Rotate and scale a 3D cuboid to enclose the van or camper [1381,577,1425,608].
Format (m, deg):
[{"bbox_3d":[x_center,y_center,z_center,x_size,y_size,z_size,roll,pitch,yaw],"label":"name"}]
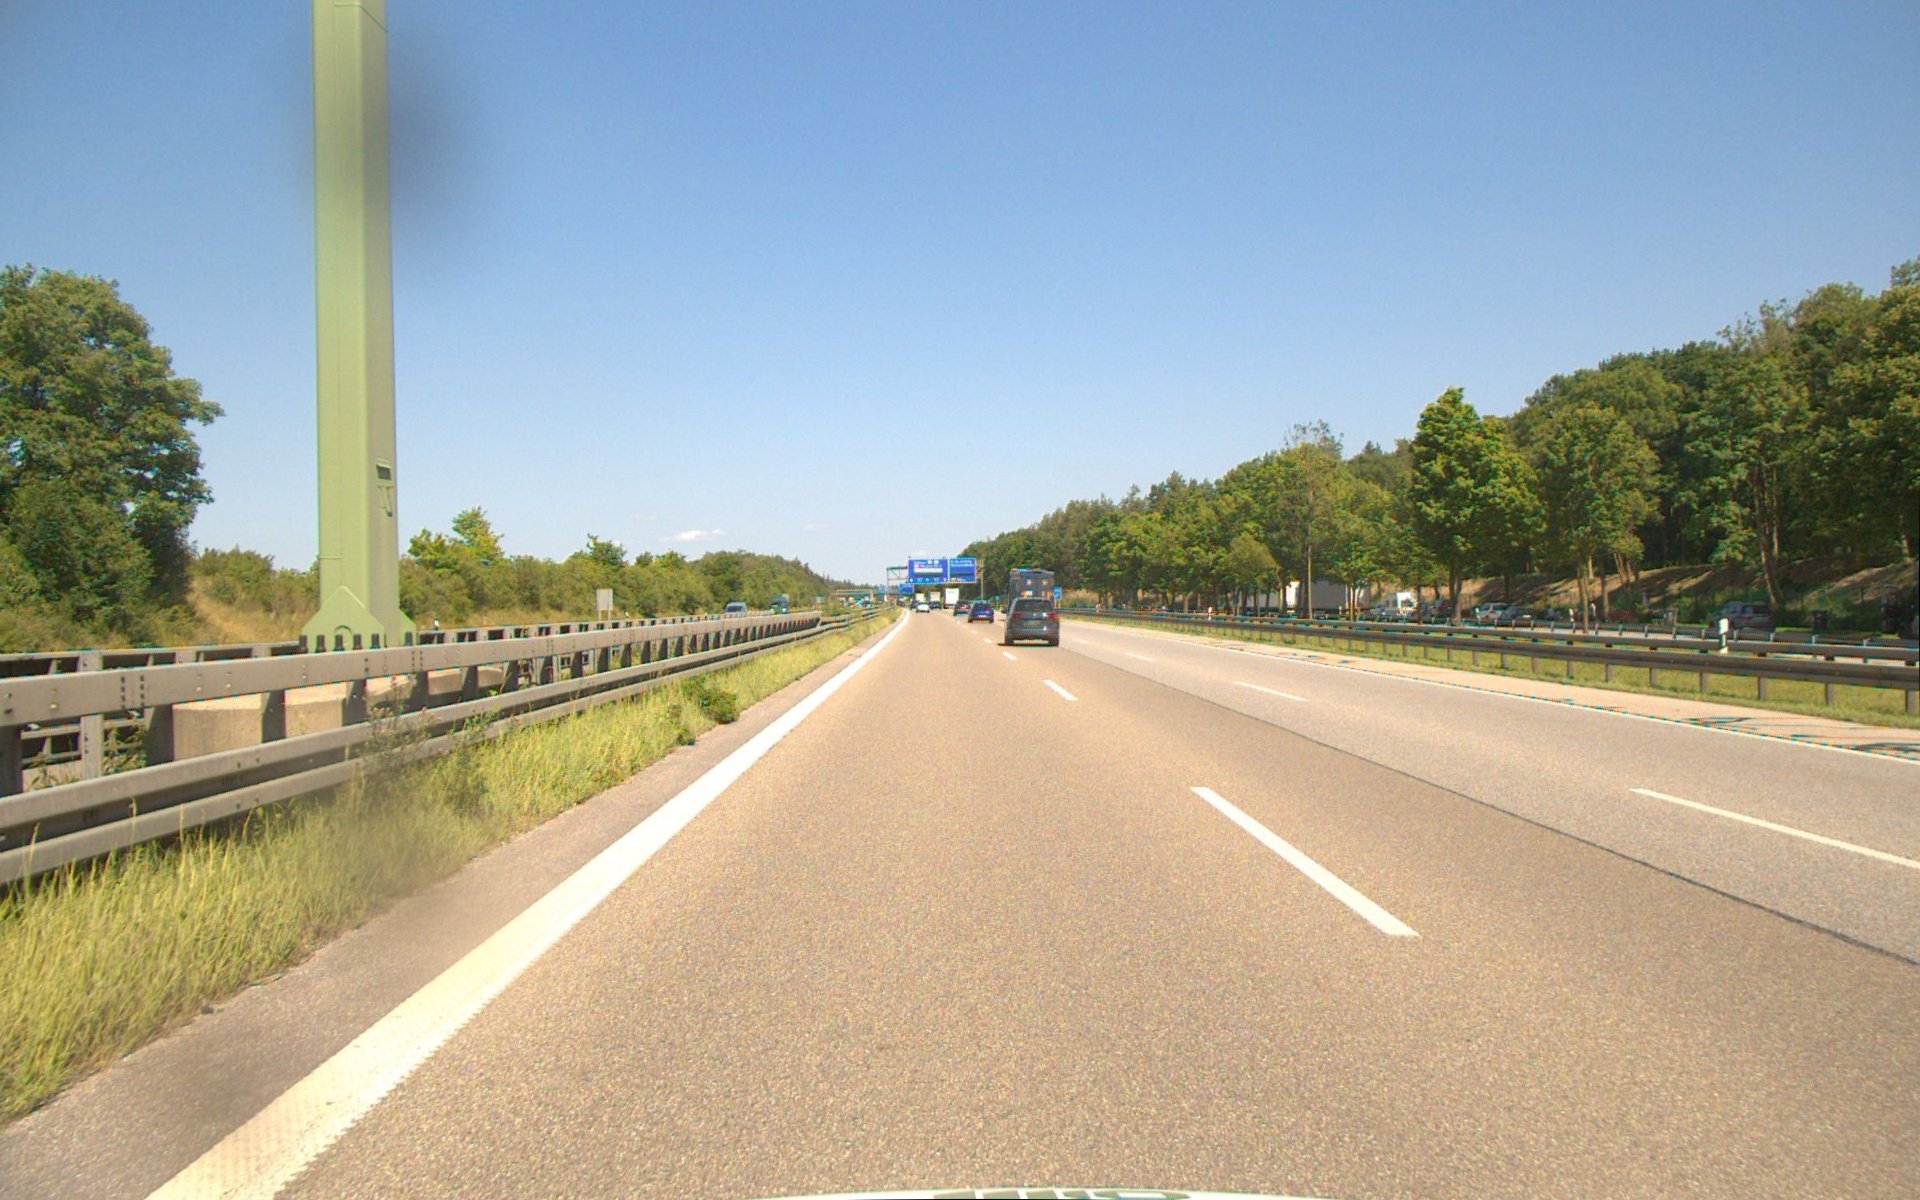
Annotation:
[{"bbox_3d":[38.627,-0.632,144.463,2.159,2.575,5.874,0,0,-1],"label":"van or camper"}]

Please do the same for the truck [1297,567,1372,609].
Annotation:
[{"bbox_3d":[37.323,-1.158,165.447,2.938,4.000,14.442,0,0,-5],"label":"truck"}]

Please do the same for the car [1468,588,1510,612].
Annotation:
[{"bbox_3d":[38.957,-0.015,121.819,1.622,1.705,4.651,0,0,0],"label":"car"}]

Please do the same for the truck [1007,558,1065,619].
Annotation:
[{"bbox_3d":[5.813,-0.889,129.111,3.703,4.499,14.047,0,0,-1],"label":"truck"}]

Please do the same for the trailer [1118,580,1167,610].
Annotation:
[{"bbox_3d":[25.330,-0.662,230.678,2.528,3.983,12.701,0,0,-14],"label":"trailer"}]

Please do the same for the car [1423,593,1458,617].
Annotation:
[{"bbox_3d":[38.214,0.392,131.590,1.621,1.910,4.802,0,0,3],"label":"car"}]

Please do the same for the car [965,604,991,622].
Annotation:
[{"bbox_3d":[1.247,0.910,116.130,1.674,1.176,3.688,-1,0,-1],"label":"car"}]

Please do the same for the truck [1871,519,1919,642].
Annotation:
[{"bbox_3d":[32.832,-0.645,53.239,3.215,4.016,9.359,-1,0,10],"label":"truck"}]

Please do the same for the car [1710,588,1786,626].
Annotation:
[{"bbox_3d":[36.661,0.323,77.025,1.951,1.680,4.322,-1,0,8],"label":"car"}]

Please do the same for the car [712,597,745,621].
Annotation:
[{"bbox_3d":[-19.358,0.721,138.617,1.953,1.867,5.332,-3,0,-1],"label":"car"}]

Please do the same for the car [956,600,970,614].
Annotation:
[{"bbox_3d":[0.325,0.728,175.333,1.441,1.422,3.409,2,0,-1],"label":"car"}]

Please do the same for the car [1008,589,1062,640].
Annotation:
[{"bbox_3d":[2.567,0.468,57.355,1.762,1.698,4.259,1,0,2],"label":"car"}]

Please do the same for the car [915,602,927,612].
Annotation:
[{"bbox_3d":[-5.017,0.875,212.856,1.441,1.249,3.409,-1,0,-1],"label":"car"}]

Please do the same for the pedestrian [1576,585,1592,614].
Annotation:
[{"bbox_3d":[38.767,-0.034,102.758,0.781,1.813,0.643,-1,0,12],"label":"pedestrian"}]

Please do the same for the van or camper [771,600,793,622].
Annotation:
[{"bbox_3d":[-20.899,1.226,194.009,1.953,2.434,6.239,-2,0,-1],"label":"van or camper"}]

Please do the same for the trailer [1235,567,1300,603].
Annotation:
[{"bbox_3d":[34.508,-1.647,186.375,2.804,3.863,14.163,0,0,-8],"label":"trailer"}]

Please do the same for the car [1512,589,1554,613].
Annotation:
[{"bbox_3d":[39.902,0.054,115.311,1.951,1.601,4.003,0,0,7],"label":"car"}]
